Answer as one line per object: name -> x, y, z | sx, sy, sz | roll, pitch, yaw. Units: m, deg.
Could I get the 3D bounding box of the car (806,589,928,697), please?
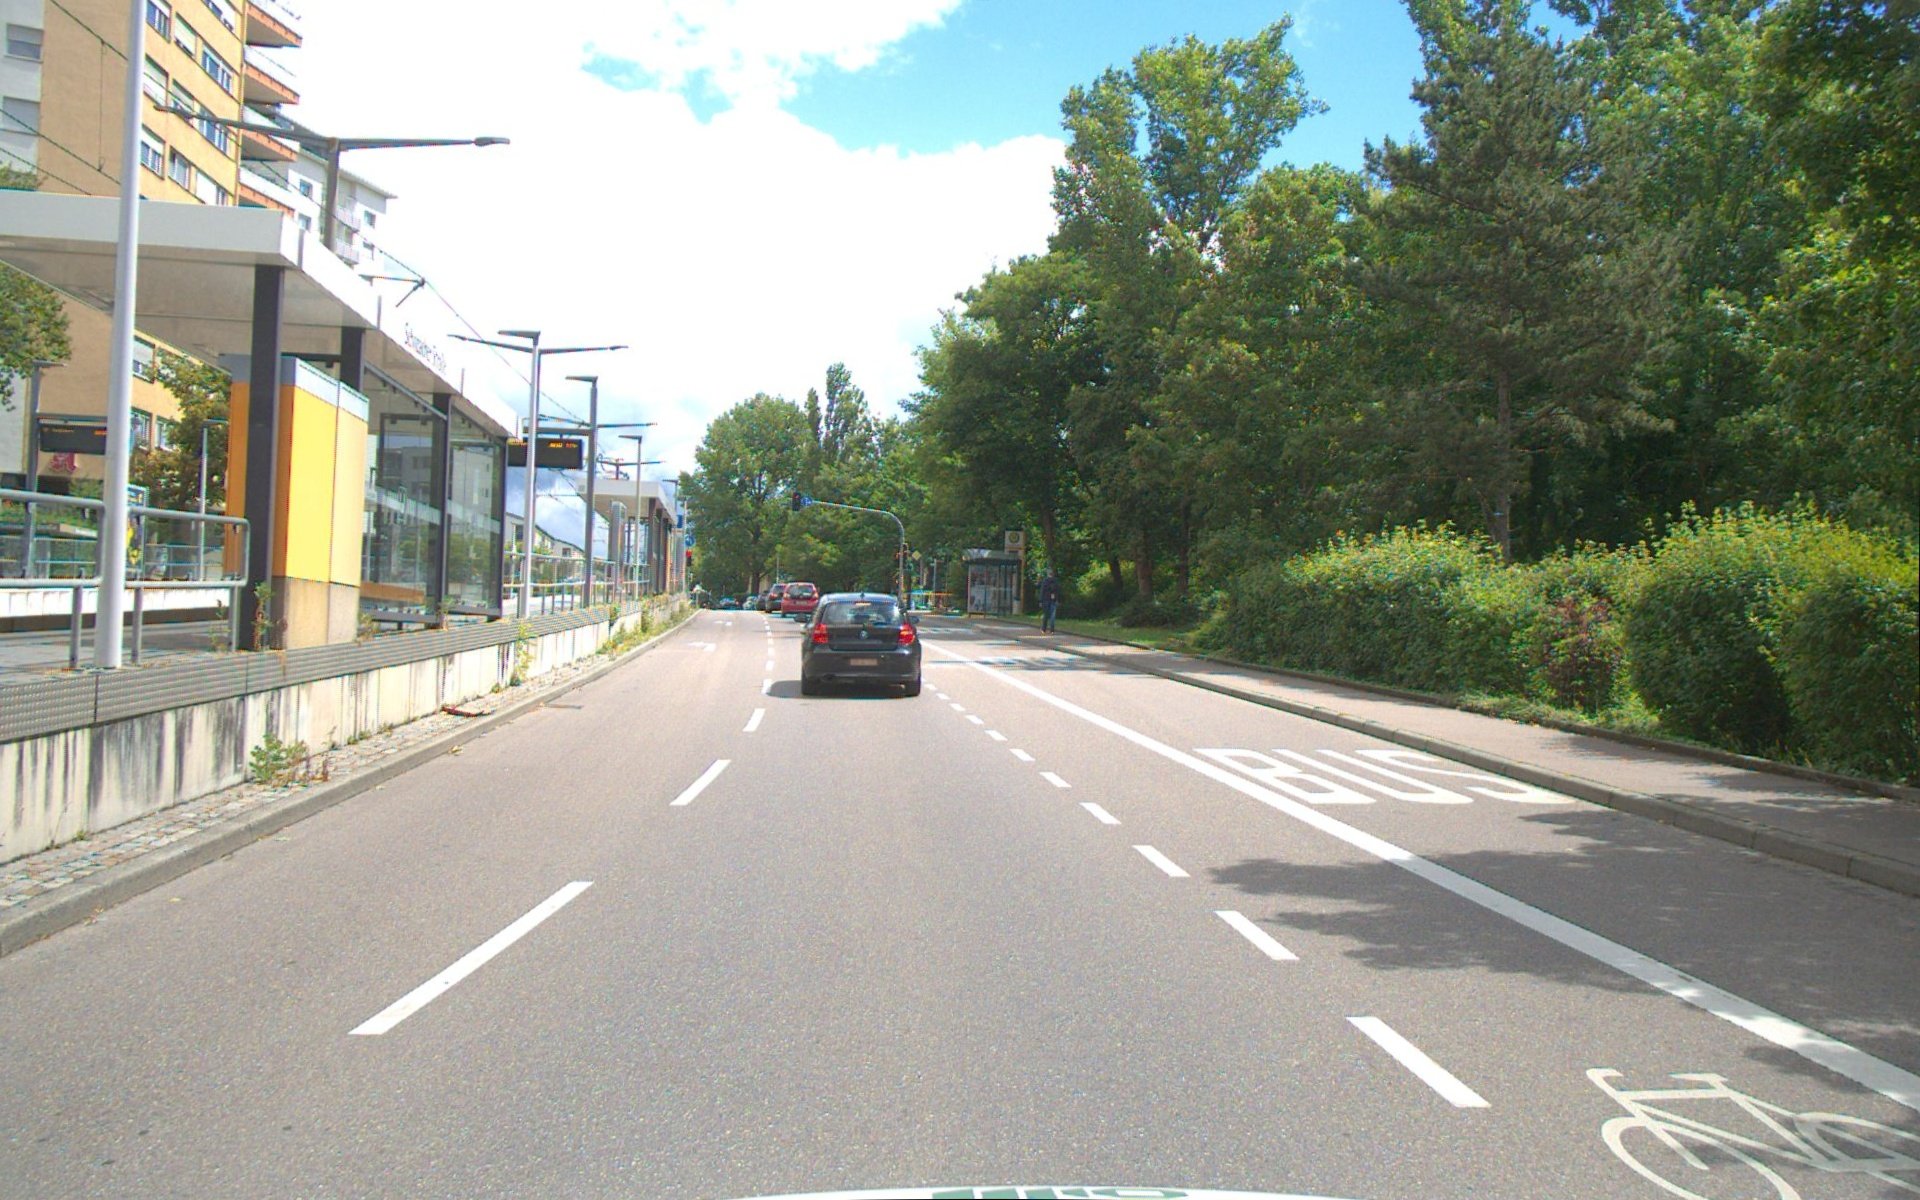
car -> -1.417, 0.579, 24.179 | 1.622, 1.443, 3.513 | 1, 0, -6

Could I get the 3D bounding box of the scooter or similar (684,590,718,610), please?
scooter or similar -> -13.854, -0.011, 88.542 | 1.760, 1.069, 0.407 | 0, 0, -28

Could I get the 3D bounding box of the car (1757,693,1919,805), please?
car -> 15.452, 2.461, 27.999 | 1.832, 1.495, 3.998 | 1, 1, -3

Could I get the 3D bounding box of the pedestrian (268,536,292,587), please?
pedestrian -> -19.146, -1.073, 46.585 | 0.533, 1.404, 0.519 | 1, -3, -16

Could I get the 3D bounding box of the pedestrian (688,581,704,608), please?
pedestrian -> -14.208, -0.294, 88.974 | 0.849, 1.468, 0.797 | 1, 0, -9

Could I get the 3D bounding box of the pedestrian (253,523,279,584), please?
pedestrian -> -19.247, -1.283, 45.889 | 0.516, 1.673, 0.556 | 1, 0, -40

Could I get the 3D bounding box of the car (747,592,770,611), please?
car -> -16.332, 0.138, 134.093 | 1.621, 1.443, 3.515 | 2, 0, -3

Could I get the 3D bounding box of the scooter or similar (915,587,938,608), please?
scooter or similar -> -1.937, -0.142, 95.174 | 1.270, 1.210, 0.382 | 1, 0, -23

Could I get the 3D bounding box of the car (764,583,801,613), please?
car -> -8.756, -0.122, 81.488 | 1.624, 1.443, 3.510 | 1, 0, -9

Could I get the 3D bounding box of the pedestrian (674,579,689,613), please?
pedestrian -> -13.525, -0.206, 80.415 | 0.687, 1.661, 0.637 | 0, 0, -6

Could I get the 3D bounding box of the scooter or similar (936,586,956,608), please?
scooter or similar -> -0.798, -0.155, 96.080 | 1.090, 1.280, 0.330 | 1, 0, -20

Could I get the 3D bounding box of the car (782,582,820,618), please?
car -> -6.775, -0.020, 70.305 | 1.564, 1.443, 3.512 | 1, 0, -7

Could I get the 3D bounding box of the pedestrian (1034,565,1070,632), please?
pedestrian -> 2.712, -0.041, 48.732 | 0.786, 1.928, 1.269 | 2, 0, -6

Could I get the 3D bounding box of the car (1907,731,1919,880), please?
car -> 11.467, 2.163, 16.435 | 3.190, 1.516, 1.572 | 1, 0, -1

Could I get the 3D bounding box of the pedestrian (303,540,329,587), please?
pedestrian -> -19.592, -1.109, 50.313 | 0.631, 1.393, 0.506 | 1, 0, -7
